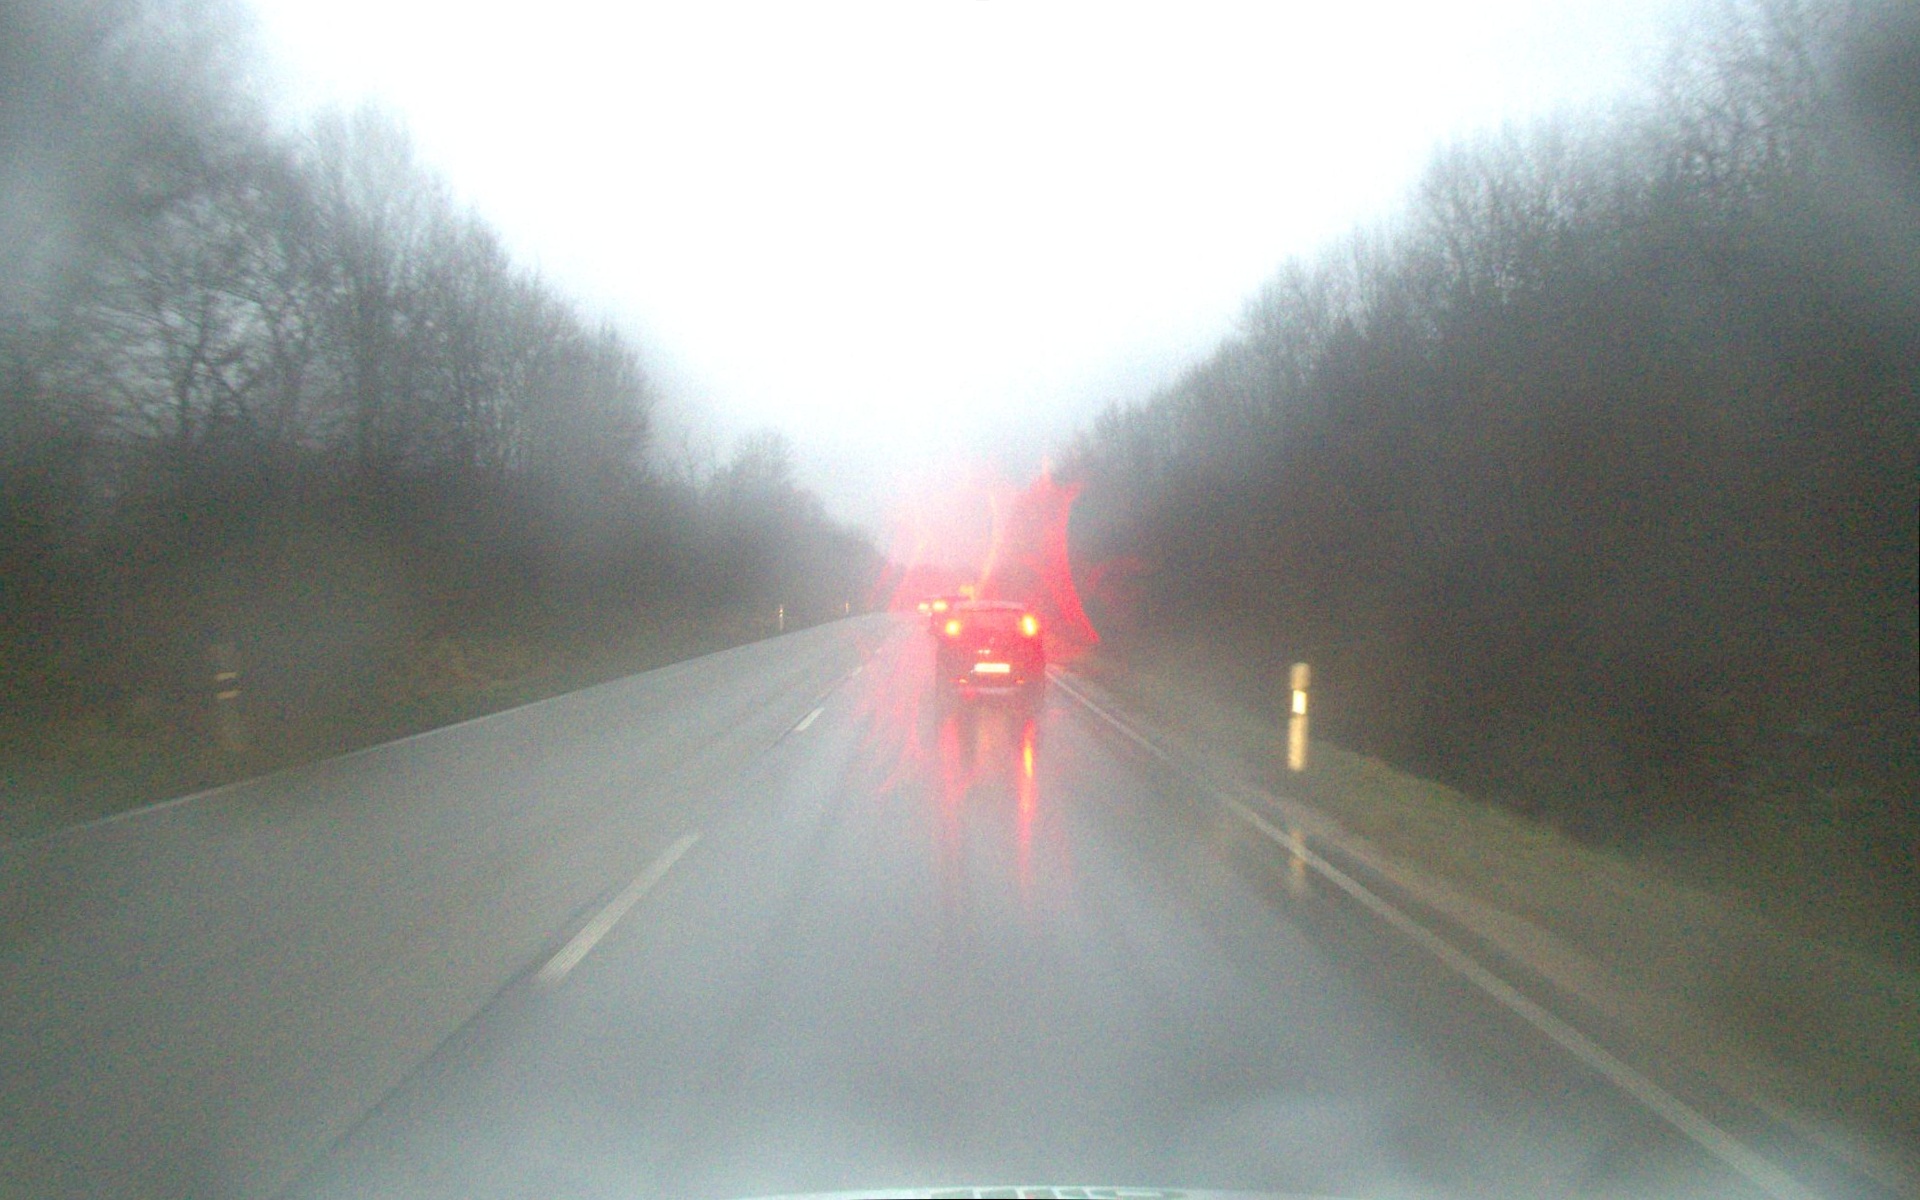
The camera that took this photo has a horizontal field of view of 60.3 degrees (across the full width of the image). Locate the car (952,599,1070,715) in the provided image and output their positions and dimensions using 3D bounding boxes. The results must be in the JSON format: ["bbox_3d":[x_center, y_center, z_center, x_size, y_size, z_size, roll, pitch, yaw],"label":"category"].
[{"bbox_3d":[0.767,0.841,26.148,1.692,1.672,4.000,1,0,0],"label":"car"}]

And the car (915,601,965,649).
[{"bbox_3d":[-0.696,0.883,60.296,1.692,1.672,4.000,1,0,0],"label":"car"}]
